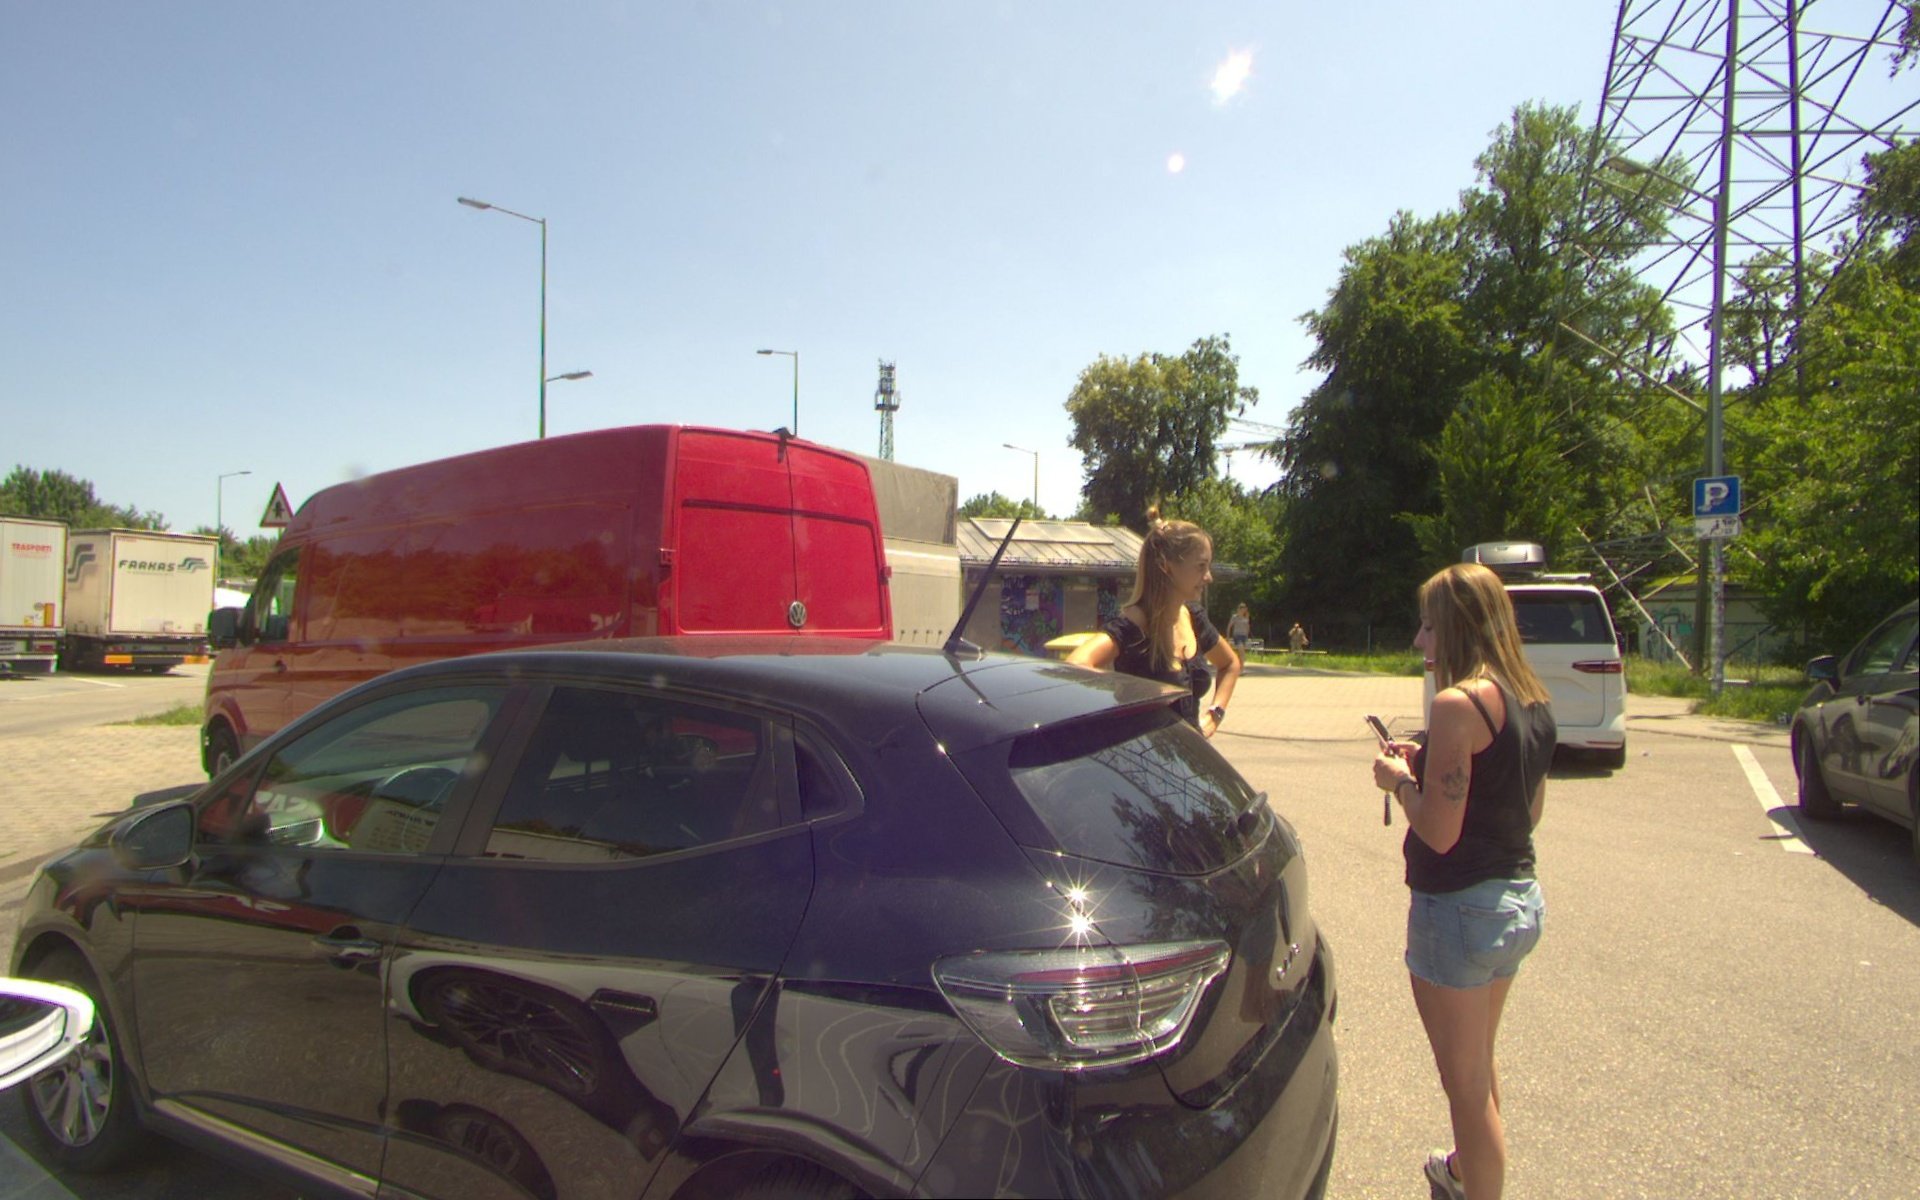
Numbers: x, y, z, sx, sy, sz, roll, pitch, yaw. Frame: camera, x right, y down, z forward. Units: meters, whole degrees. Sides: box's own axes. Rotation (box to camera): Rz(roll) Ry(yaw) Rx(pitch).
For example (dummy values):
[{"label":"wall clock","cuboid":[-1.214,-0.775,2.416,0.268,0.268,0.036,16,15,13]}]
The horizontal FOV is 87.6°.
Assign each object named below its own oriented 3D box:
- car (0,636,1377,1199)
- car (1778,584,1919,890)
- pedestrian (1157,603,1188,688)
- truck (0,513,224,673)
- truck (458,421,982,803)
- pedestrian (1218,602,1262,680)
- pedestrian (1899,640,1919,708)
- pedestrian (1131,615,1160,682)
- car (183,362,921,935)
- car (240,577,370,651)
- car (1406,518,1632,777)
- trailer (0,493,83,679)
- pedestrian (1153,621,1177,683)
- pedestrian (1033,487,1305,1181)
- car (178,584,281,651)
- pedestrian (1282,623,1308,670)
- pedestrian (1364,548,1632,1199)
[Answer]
[{"label":"car","cuboid":[-0.852,0.843,2.811,3.628,1.476,1.776,-1,-2,27]},{"label":"car","cuboid":[6.531,0.765,5.993,1.811,1.638,4.150,0,-1,29]},{"label":"pedestrian","cuboid":[4.532,0.962,21.376,0.520,1.783,0.651,0,0,23]},{"label":"truck","cuboid":[-27.055,-0.024,31.183,11.800,4.279,2.582,-1,-2,32]},{"label":"truck","cuboid":[-2.447,0.173,9.899,4.751,2.863,2.514,-1,-2,34]},{"label":"pedestrian","cuboid":[7.012,1.025,25.129,0.762,1.903,0.840,0,-1,-11]},{"label":"pedestrian","cuboid":[17.104,1.295,17.539,0.694,1.178,0.787,-1,-1,22]},{"label":"pedestrian","cuboid":[4.175,1.073,22.500,0.521,1.478,0.576,0,0,23]},{"label":"car","cuboid":[-3.377,0.252,7.334,6.298,2.668,1.988,0,-1,36]},{"label":"car","cuboid":[-29.452,0.602,44.946,6.259,3.114,2.495,0,-1,32]},{"label":"car","cuboid":[6.596,0.503,11.915,1.901,2.401,4.954,1,-1,29]},{"label":"trailer","cuboid":[-28.541,-0.339,27.842,12.642,4.511,2.677,0,-1,32]},{"label":"pedestrian","cuboid":[4.537,1.140,22.174,0.439,1.362,0.477,0,0,23]},{"label":"pedestrian","cuboid":[0.701,0.648,3.228,0.481,1.884,0.906,0,-1,39]},{"label":"car","cuboid":[-29.923,0.756,41.029,3.943,2.632,2.111,-1,-2,32]},{"label":"pedestrian","cuboid":[14.580,2.017,43.628,0.955,2.039,0.829,0,-1,10]},{"label":"pedestrian","cuboid":[1.216,0.712,2.290,0.478,1.615,0.501,0,0,29]}]
